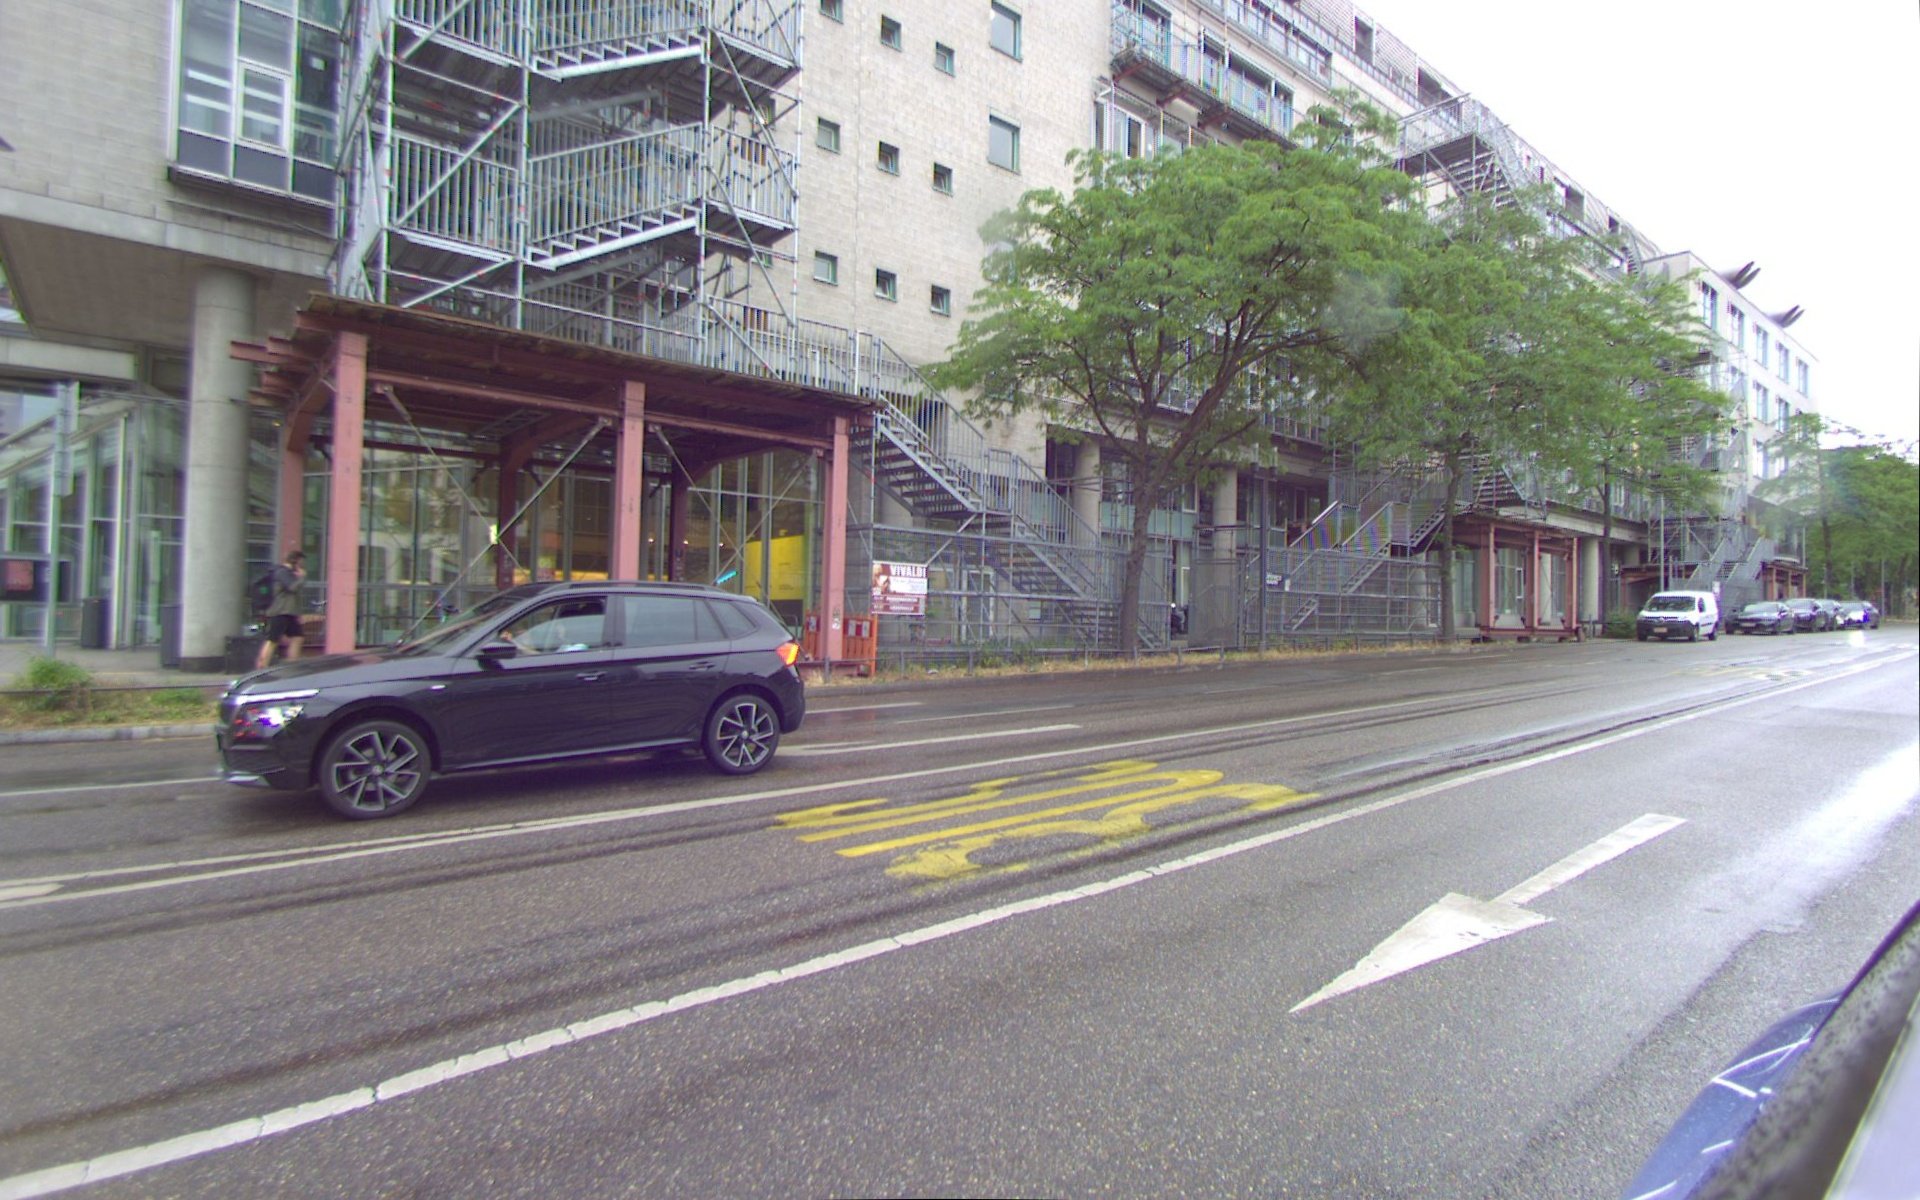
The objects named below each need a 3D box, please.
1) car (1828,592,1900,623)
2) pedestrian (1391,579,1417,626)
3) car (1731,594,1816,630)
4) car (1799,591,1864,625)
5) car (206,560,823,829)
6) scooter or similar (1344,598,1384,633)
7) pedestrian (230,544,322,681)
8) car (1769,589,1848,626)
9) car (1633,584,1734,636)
[{"bbox_3d":[49.116,0.406,54.963,5.191,1.621,1.999,0,0,-38],"label":"car"},{"bbox_3d":[16.893,0.104,38.482,0.641,1.764,0.678,0,0,-38],"label":"pedestrian"},{"bbox_3d":[35.261,0.509,43.818,4.831,1.455,1.873,0,0,-39],"label":"car"},{"bbox_3d":[44.395,0.389,51.535,4.512,1.621,1.865,0,0,-41],"label":"car"},{"bbox_3d":[-3.275,0.541,7.839,4.071,1.559,1.782,0,0,-39],"label":"car"},{"bbox_3d":[13.809,0.524,34.558,1.520,1.176,0.632,0,0,-41],"label":"scooter or similar"},{"bbox_3d":[-9.744,0.164,14.452,1.035,1.875,0.682,0,0,-30],"label":"pedestrian"},{"bbox_3d":[40.365,0.364,48.123,4.774,1.667,1.998,0,0,-39],"label":"car"},{"bbox_3d":[26.228,0.320,36.630,4.447,1.772,1.997,0,0,-41],"label":"car"}]
